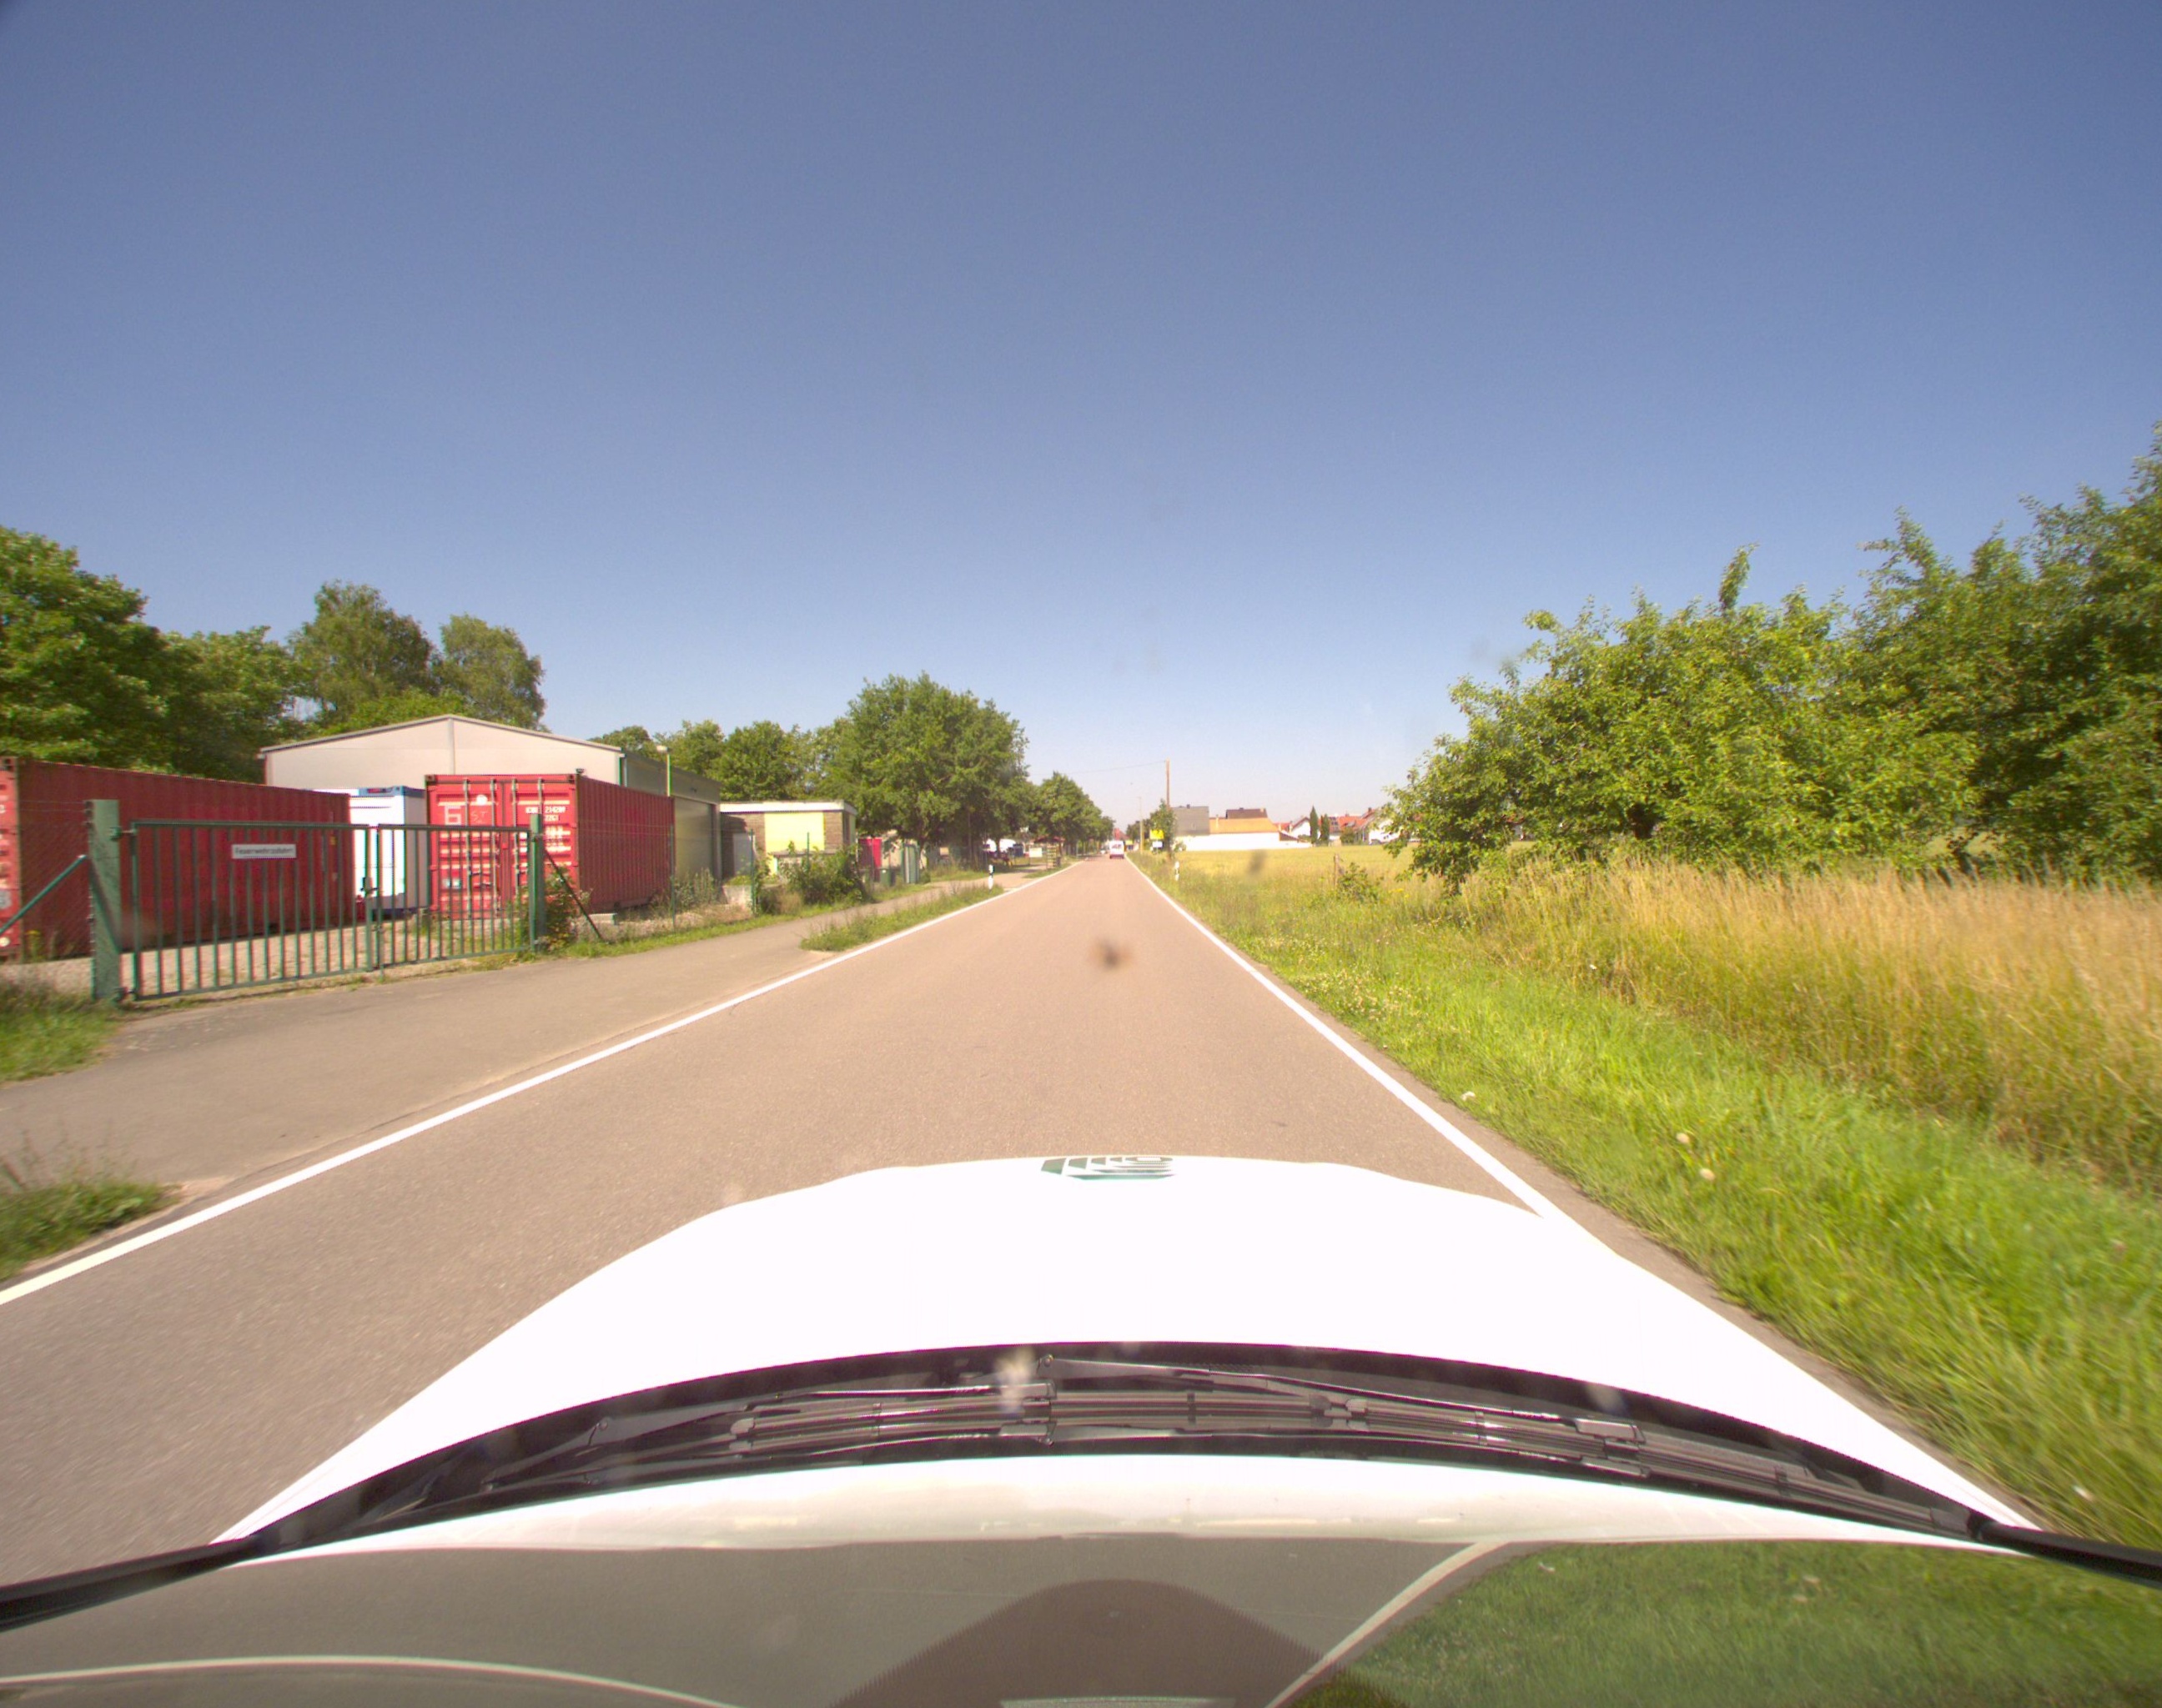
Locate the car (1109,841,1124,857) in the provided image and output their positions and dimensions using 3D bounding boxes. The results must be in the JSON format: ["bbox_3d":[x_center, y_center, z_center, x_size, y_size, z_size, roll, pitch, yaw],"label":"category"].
[{"bbox_3d":[4.916,-0.703,114.211,1.986,2.266,4.729,-2,0,2],"label":"car"}]

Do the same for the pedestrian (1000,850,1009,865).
[{"bbox_3d":[-8.109,0.322,86.311,0.671,1.566,0.722,-2,0,18],"label":"pedestrian"}]

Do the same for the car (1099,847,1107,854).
[{"bbox_3d":[5.220,-0.811,191.414,1.764,1.590,4.003,-2,0,2],"label":"car"}]

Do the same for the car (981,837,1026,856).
[{"bbox_3d":[-10.123,-0.965,106.719,5.639,2.266,1.978,-2,0,-37],"label":"car"}]

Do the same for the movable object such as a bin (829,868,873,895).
[{"bbox_3d":[-8.066,0.955,28.627,1.095,0.831,1.855,-2,0,-4],"label":"movable object such as a bin"}]

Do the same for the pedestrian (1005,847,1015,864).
[{"bbox_3d":[-7.586,0.192,87.031,0.714,1.803,0.713,-2,0,17],"label":"pedestrian"}]
